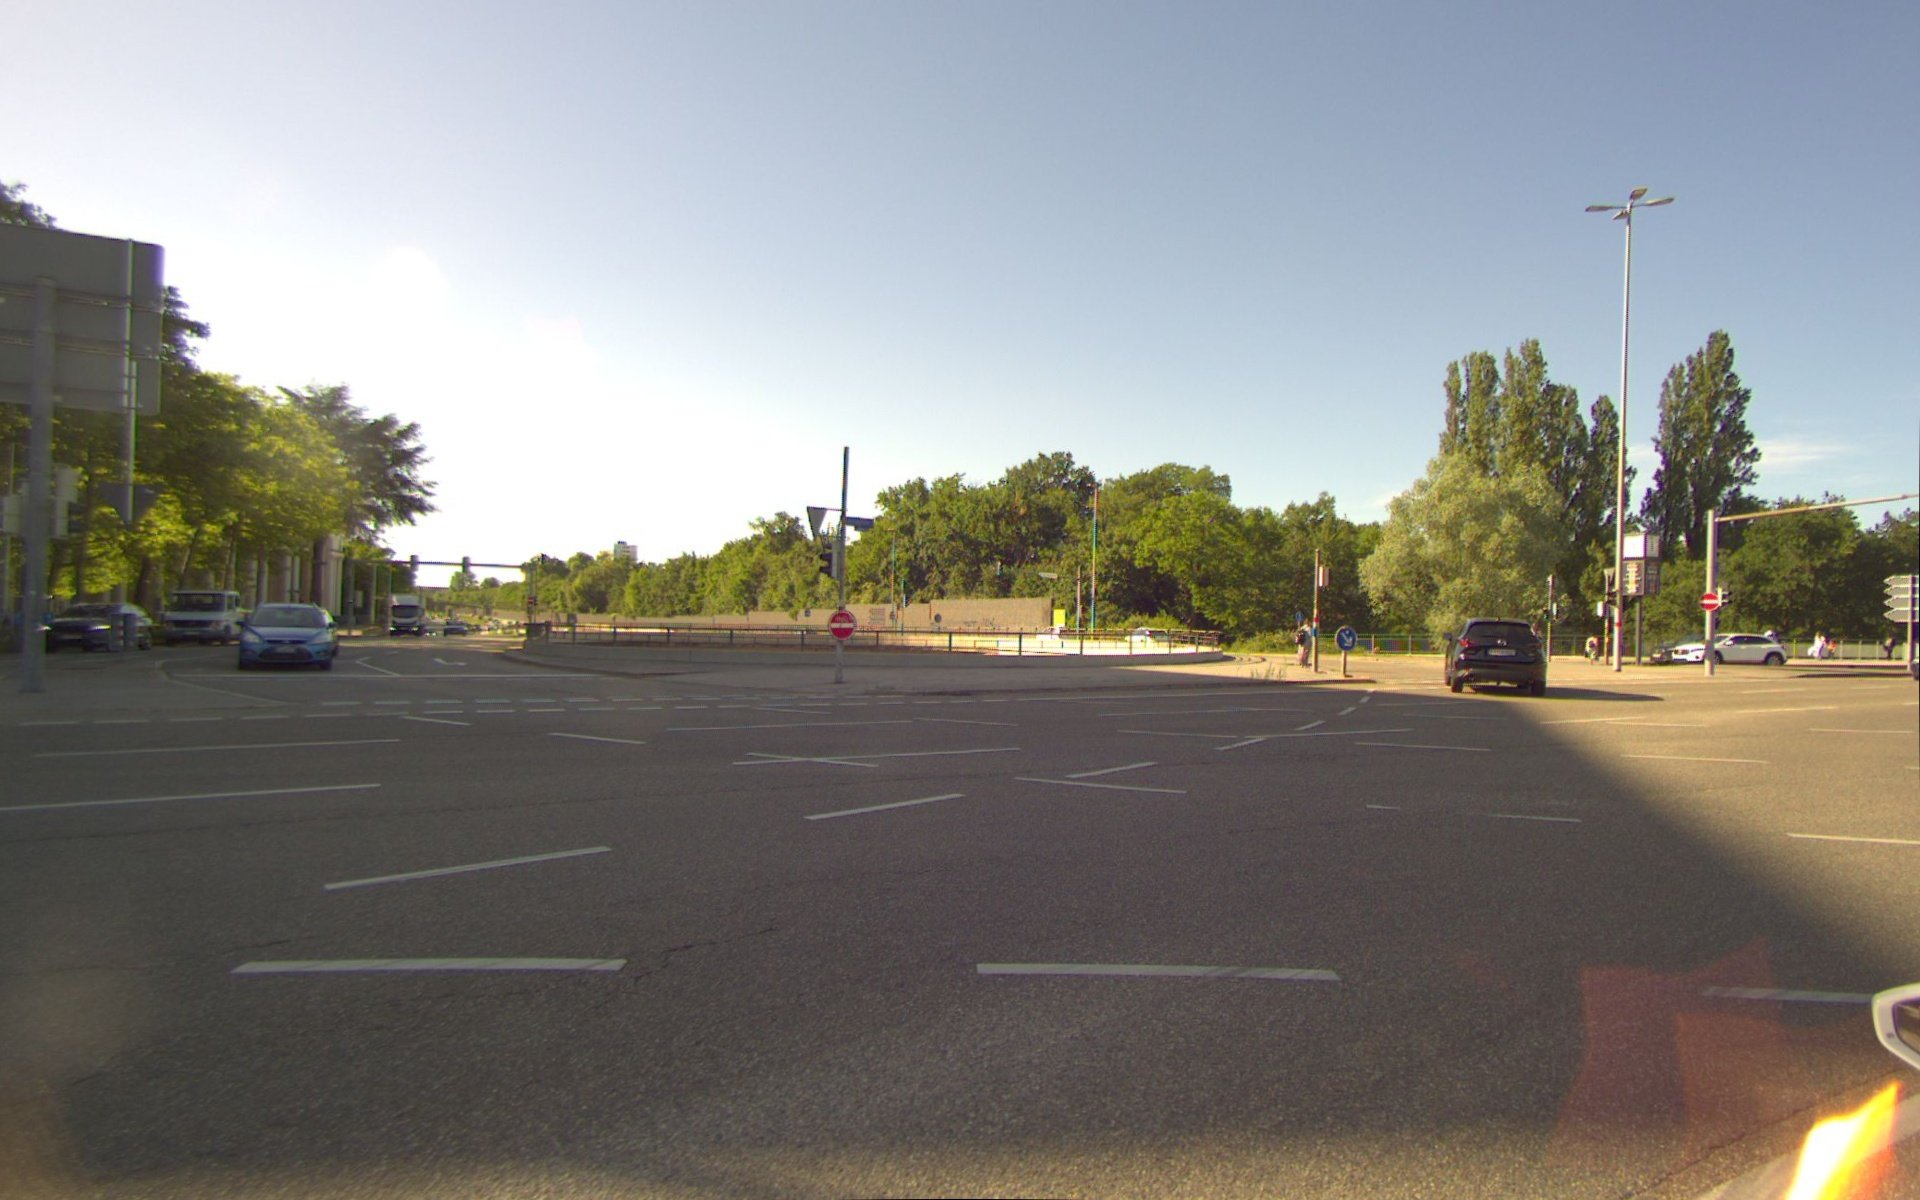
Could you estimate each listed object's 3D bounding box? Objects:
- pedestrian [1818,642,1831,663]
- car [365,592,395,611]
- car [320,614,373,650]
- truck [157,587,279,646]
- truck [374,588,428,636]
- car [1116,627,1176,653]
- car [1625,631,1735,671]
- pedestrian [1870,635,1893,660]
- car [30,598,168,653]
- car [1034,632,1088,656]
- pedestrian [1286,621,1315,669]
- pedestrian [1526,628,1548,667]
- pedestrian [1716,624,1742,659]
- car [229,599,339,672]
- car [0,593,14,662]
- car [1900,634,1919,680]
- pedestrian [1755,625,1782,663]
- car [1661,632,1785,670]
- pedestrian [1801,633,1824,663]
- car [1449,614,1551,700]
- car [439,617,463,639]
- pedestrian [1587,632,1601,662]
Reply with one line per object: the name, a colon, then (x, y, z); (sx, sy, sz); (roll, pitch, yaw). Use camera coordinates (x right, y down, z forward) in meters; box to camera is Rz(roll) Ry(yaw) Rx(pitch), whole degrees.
pedestrian: (48.931, 2.971, 56.854); (0.392, 1.151, 0.422); (4, -1, -23)
car: (-56.579, 0.136, 97.956); (1.800, 1.722, 4.148); (2, -1, -40)
car: (-25.613, 1.307, 41.954); (1.765, 1.353, 4.048); (2, -1, -31)
truck: (-32.748, 0.708, 44.662); (2.130, 2.391, 7.483); (2, -1, -19)
truck: (-48.606, 0.983, 87.448); (3.807, 3.847, 9.271); (2, 0, -29)
car: (11.218, 2.414, 60.882); (1.758, 1.433, 4.302); (2, -1, -17)
car: (35.462, 2.507, 49.548); (3.920, 1.646, 1.902); (4, -1, 4)
pedestrian: (56.952, 2.928, 62.100); (0.765, 1.522, 0.671); (4, 0, -8)
car: (-28.352, 0.804, 33.271); (1.851, 1.666, 4.490); (2, -1, -19)
car: (6.924, 3.009, 69.190); (1.974, 1.528, 3.974); (2, -1, -26)
pedestrian: (10.924, 1.434, 32.213); (0.670, 1.482, 0.700); (1, -1, 36)
pedestrian: (23.463, 1.923, 40.851); (0.698, 1.568, 0.728); (1, -1, 26)
pedestrian: (43.351, 2.331, 56.610); (0.777, 1.942, 0.834); (4, -1, -23)
car: (-15.993, 0.794, 23.976); (1.930, 1.561, 4.420); (2, -1, -31)
car: (-24.219, 0.645, 23.296); (1.788, 1.722, 4.176); (2, -1, -21)
car: (33.806, 1.934, 33.966); (3.954, 1.527, 1.927); (2, -2, -31)
pedestrian: (44.955, 2.427, 55.872); (0.777, 2.023, 0.804); (4, -1, -23)
car: (34.757, 2.308, 45.821); (4.243, 1.556, 1.785); (1, 0, 1)
pedestrian: (48.756, 2.743, 57.443); (0.663, 1.663, 0.718); (4, -1, -23)
car: (12.229, 1.226, 22.968); (1.845, 1.731, 4.193); (1, -1, 26)
car: (-44.493, 2.457, 87.893); (1.718, 1.706, 4.023); (4, -1, -27)
pedestrian: (32.863, 2.442, 52.059); (0.547, 1.568, 0.576); (0, -2, 26)
